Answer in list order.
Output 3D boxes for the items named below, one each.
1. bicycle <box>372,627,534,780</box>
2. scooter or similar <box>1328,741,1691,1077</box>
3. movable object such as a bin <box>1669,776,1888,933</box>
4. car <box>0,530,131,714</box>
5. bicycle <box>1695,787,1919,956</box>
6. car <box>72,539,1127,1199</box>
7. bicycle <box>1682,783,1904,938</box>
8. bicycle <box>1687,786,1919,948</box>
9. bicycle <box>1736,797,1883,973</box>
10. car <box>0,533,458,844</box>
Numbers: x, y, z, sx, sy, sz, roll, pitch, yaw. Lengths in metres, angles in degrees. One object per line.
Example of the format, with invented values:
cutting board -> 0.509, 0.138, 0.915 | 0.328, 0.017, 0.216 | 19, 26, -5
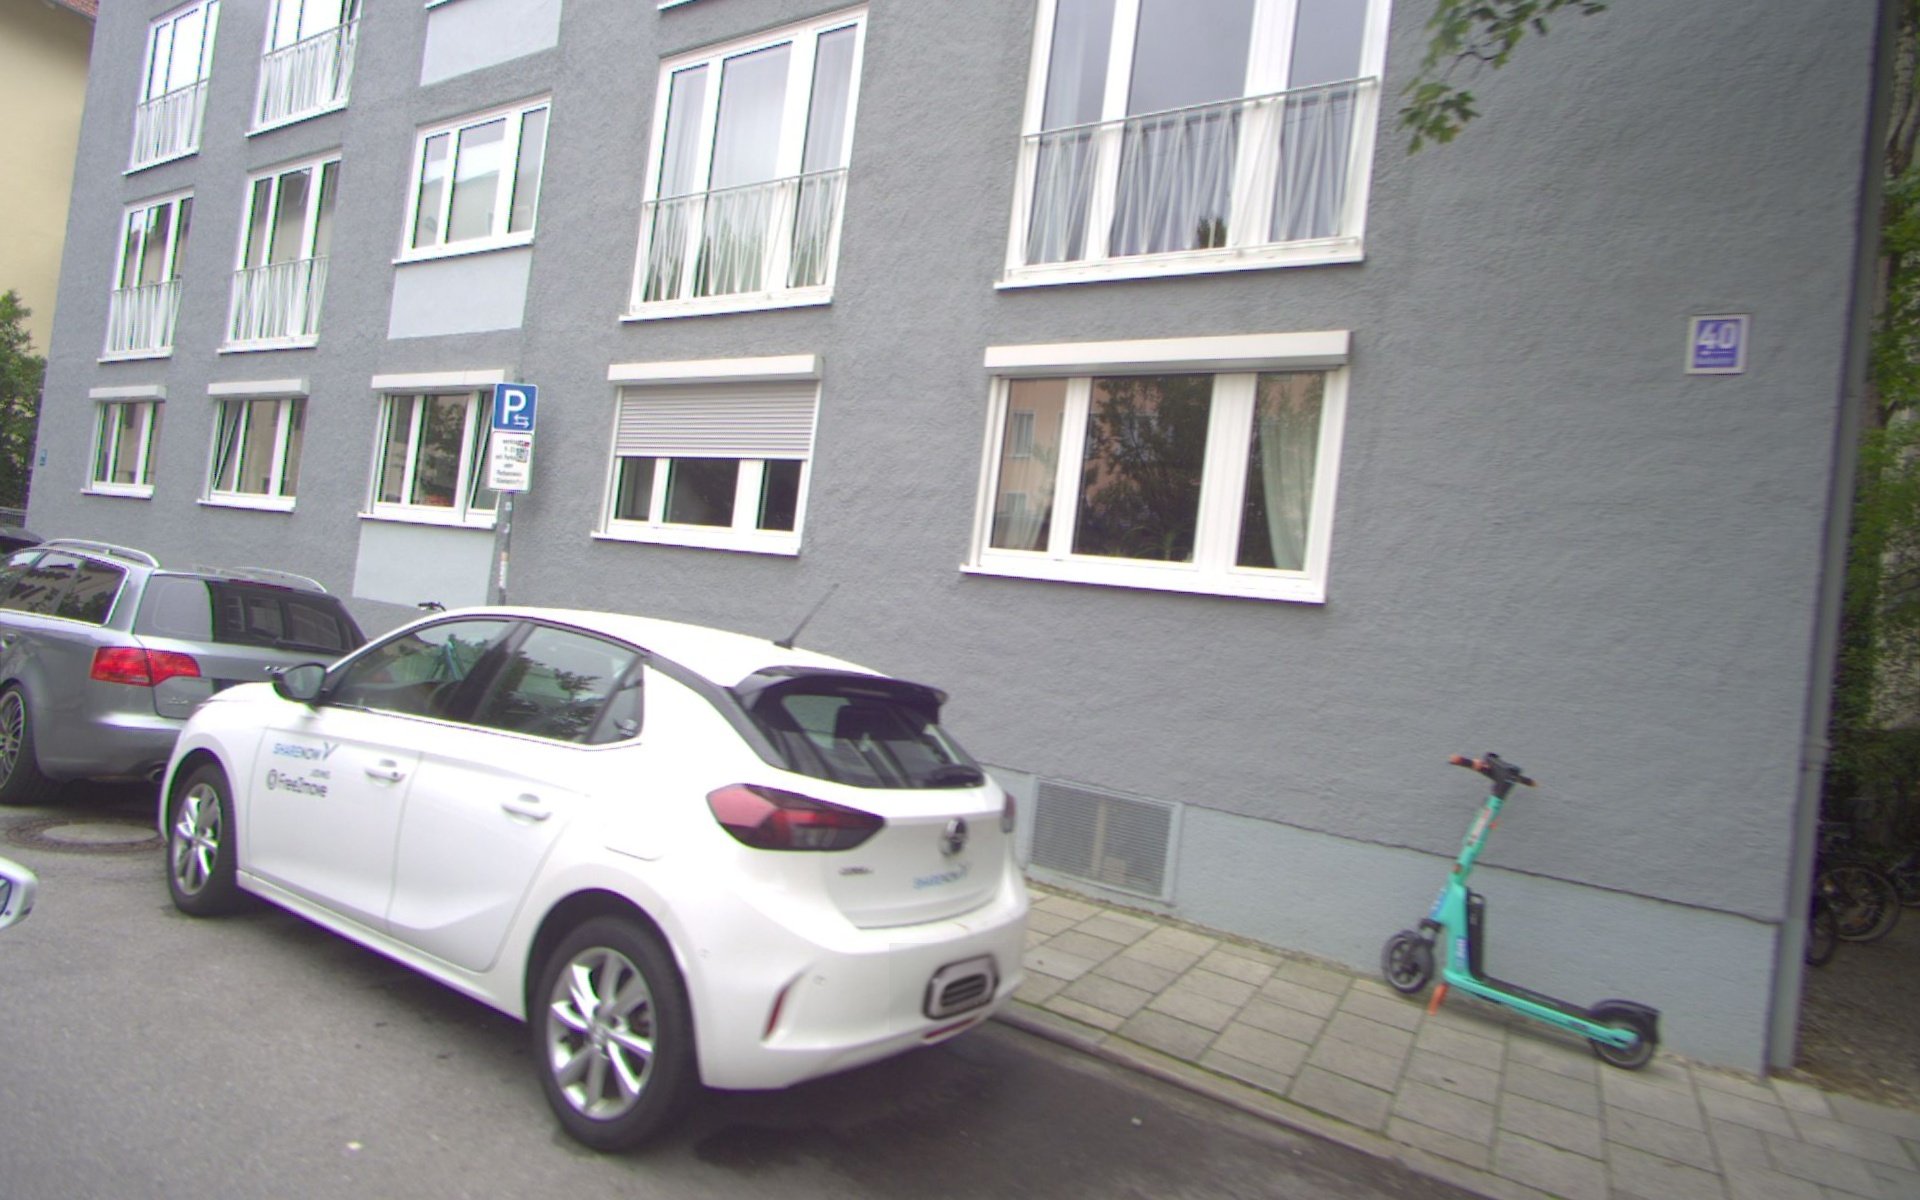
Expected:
bicycle -> -4.547, 0.889, 8.976 | 1.658, 1.123, 0.378 | 6, -1, 32
scooter or similar -> 2.565, 1.374, 4.787 | 1.353, 1.188, 0.506 | 5, -1, 33
movable object such as a bin -> 8.355, 2.564, 10.351 | 1.587, 1.213, 0.578 | 6, -3, 32
car -> -9.702, -0.048, 9.108 | 4.191, 1.442, 1.849 | 6, -6, 29
bicycle -> 7.631, 2.393, 9.033 | 1.542, 1.123, 0.441 | 6, -1, 32
car -> -1.705, 0.757, 4.245 | 4.273, 1.460, 1.775 | 6, -6, 32
bicycle -> 8.106, 2.513, 9.871 | 1.542, 1.123, 0.441 | 6, -1, 32
bicycle -> 7.847, 2.454, 9.432 | 1.542, 1.123, 0.441 | 6, -1, 32
bicycle -> 6.802, 2.234, 8.124 | 0.394, 1.063, 1.567 | 6, -2, 24
car -> -5.580, 0.415, 6.726 | 4.412, 1.415, 1.796 | 6, -6, 32
